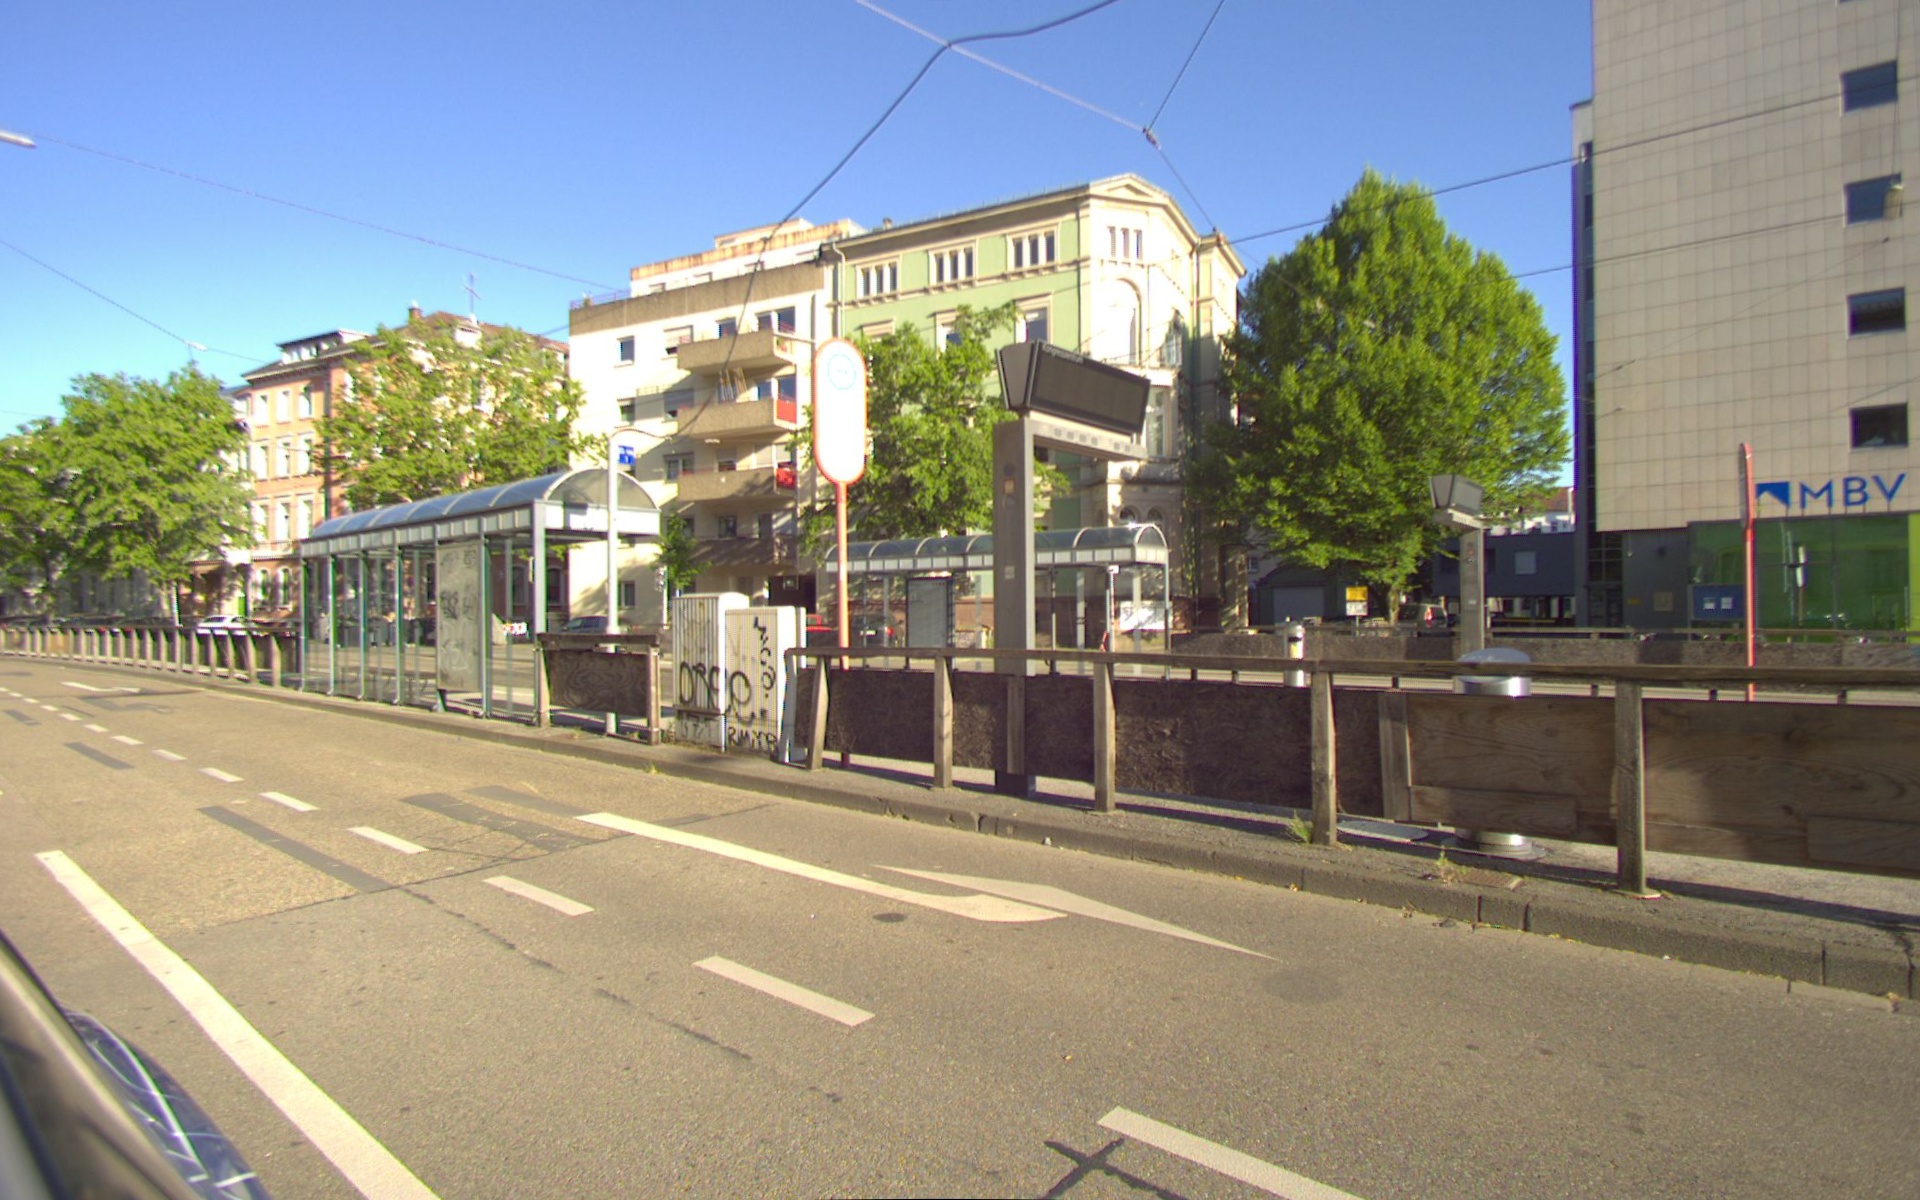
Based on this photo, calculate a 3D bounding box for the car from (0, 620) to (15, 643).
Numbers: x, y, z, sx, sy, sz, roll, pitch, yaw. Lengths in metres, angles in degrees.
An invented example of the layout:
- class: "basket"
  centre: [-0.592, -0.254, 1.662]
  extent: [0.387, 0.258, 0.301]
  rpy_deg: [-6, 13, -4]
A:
- class: "car"
  centre: [-68.100, 2.213, 70.104]
  extent: [2.001, 1.604, 3.812]
  rpy_deg: [-2, -2, 44]

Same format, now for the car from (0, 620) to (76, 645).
- class: "car"
  centre: [-59.610, 2.076, 65.260]
  extent: [3.811, 1.604, 2.001]
  rpy_deg: [1, -2, -45]

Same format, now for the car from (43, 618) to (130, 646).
- class: "car"
  centre: [-54.301, 1.948, 62.949]
  extent: [2.001, 1.697, 3.942]
  rpy_deg: [-2, -2, 44]

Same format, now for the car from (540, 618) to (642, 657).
- class: "car"
  centre: [-14.000, 1.408, 38.392]
  extent: [3.498, 1.406, 1.602]
  rpy_deg: [-1, -2, 22]

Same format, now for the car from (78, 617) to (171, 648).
- class: "car"
  centre: [-47.976, 1.836, 58.149]
  extent: [2.001, 1.697, 3.942]
  rpy_deg: [-2, -2, 44]

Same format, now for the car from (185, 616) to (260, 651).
- class: "car"
  centre: [-39.520, 1.759, 54.368]
  extent: [1.966, 1.736, 4.012]
  rpy_deg: [0, 1, -15]

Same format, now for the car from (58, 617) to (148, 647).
- class: "car"
  centre: [-51.293, 1.901, 60.621]
  extent: [2.001, 1.697, 3.942]
  rpy_deg: [-2, -2, 44]

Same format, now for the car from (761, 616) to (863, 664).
- class: "car"
  centre: [-4.998, 1.354, 34.688]
  extent: [1.763, 1.547, 3.763]
  rpy_deg: [-1, -2, 23]

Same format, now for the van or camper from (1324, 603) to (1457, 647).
- class: "van or camper"
  centre: [15.508, 0.863, 36.548]
  extent: [3.998, 1.417, 1.943]
  rpy_deg: [2, 0, 41]
